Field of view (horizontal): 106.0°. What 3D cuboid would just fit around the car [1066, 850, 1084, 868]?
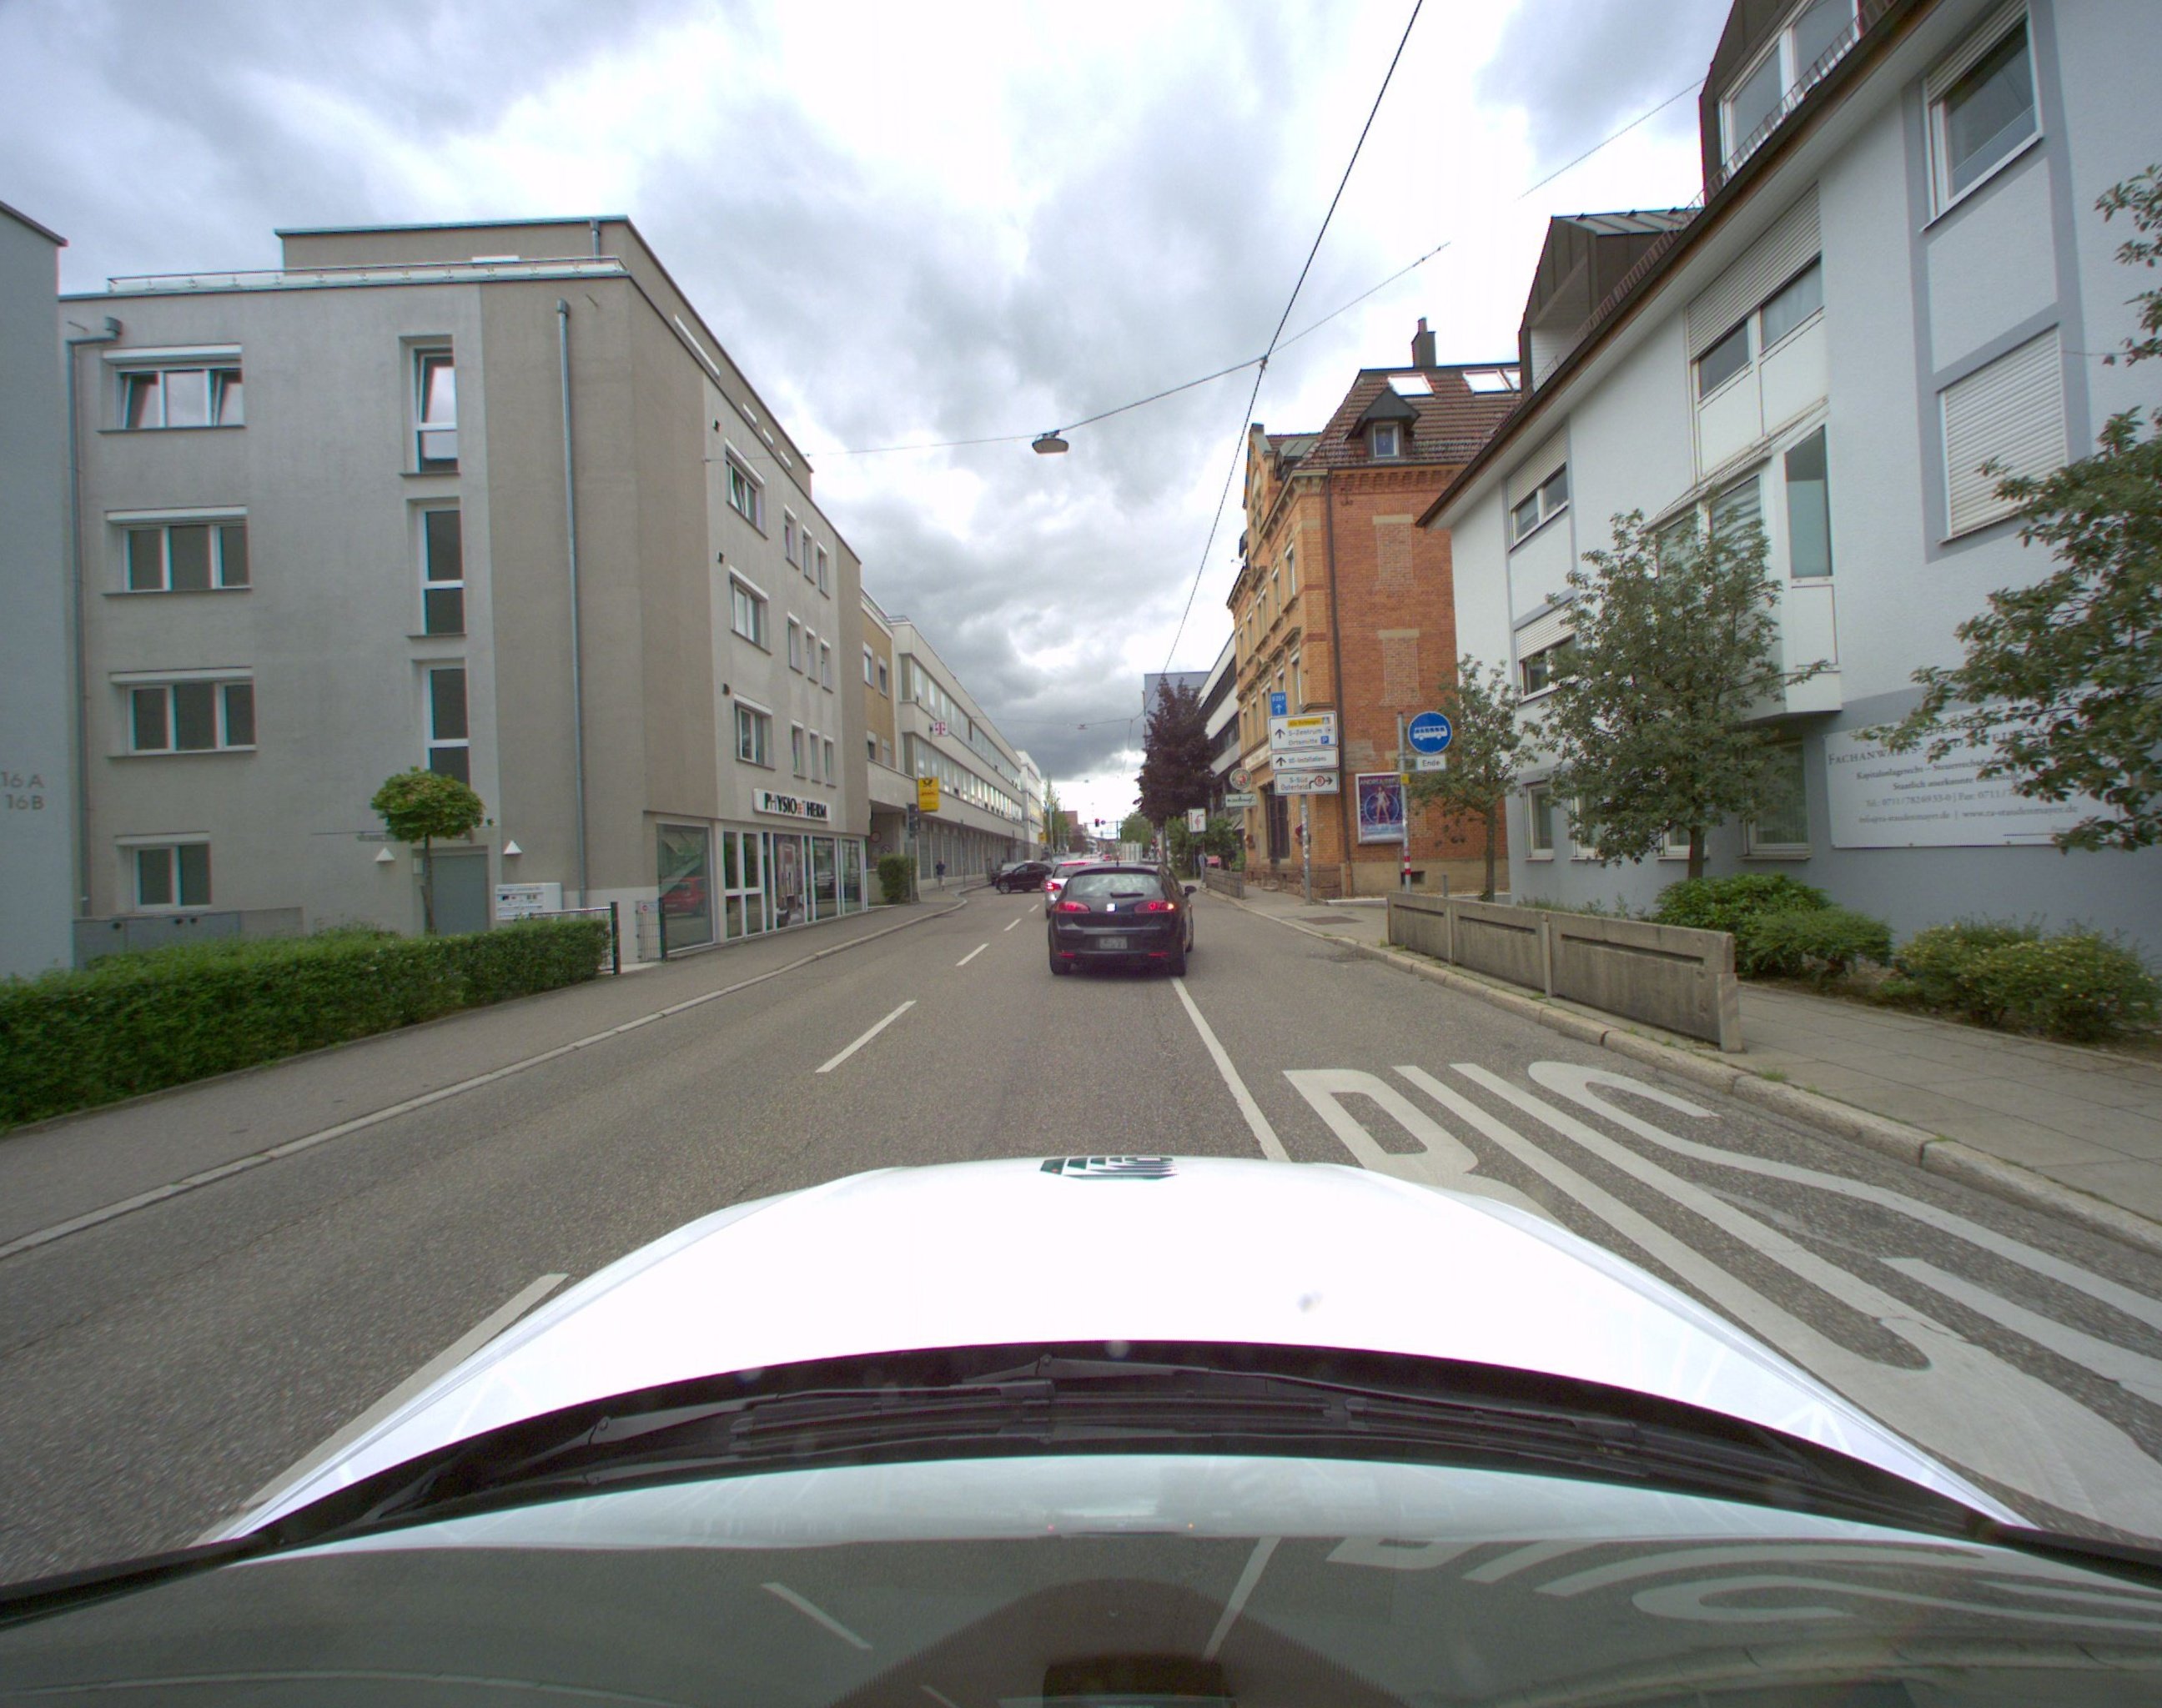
[{"bbox_3d":[-0.739,0.632,100.441,1.987,2.013,4.903,-3,0,1],"label":"car"}]

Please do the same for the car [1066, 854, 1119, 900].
[{"bbox_3d":[0.438,0.804,30.725,1.797,1.553,3.738,-2,0,1],"label":"car"}]

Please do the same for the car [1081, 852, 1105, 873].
[{"bbox_3d":[0.969,0.647,65.091,1.797,1.601,3.738,-1,0,1],"label":"car"}]

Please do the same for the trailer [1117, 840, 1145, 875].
[{"bbox_3d":[4.053,0.286,66.501,1.986,2.607,5.350,-2,0,1],"label":"trailer"}]

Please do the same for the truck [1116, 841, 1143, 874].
[{"bbox_3d":[4.104,0.283,69.273,1.987,2.607,3.260,-2,0,1],"label":"truck"}]

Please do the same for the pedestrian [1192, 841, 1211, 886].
[{"bbox_3d":[5.559,0.447,37.589,0.691,2.013,0.676,-3,0,0],"label":"pedestrian"}]

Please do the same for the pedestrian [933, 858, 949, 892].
[{"bbox_3d":[-7.561,1.140,44.044,0.640,1.769,0.810,-3,0,0],"label":"pedestrian"}]

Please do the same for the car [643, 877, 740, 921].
[{"bbox_3d":[-14.518,1.637,30.583,1.747,1.457,3.692,-1,-1,2],"label":"car"}]

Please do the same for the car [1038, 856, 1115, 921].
[{"bbox_3d":[-0.078,0.831,21.421,1.797,1.492,3.738,-2,0,1],"label":"car"}]

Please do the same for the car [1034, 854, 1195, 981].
[{"bbox_3d":[0.648,0.764,11.572,1.755,1.433,3.838,-2,0,9],"label":"car"}]

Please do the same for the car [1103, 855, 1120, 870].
[{"bbox_3d":[3.446,0.941,91.506,1.797,1.601,3.738,-1,0,1],"label":"car"}]

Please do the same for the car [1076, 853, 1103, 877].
[{"bbox_3d":[0.629,0.768,57.192,1.797,1.601,3.738,-1,0,1],"label":"car"}]

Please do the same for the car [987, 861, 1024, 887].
[{"bbox_3d":[-5.045,1.306,54.835,1.906,1.516,4.175,-4,0,1],"label":"car"}]

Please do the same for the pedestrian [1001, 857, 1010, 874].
[{"bbox_3d":[-7.248,1.096,78.350,0.653,1.623,0.681,-2,0,2],"label":"pedestrian"}]

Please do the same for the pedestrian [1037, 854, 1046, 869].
[{"bbox_3d":[-5.053,0.974,103.984,0.915,1.869,0.783,-3,0,0],"label":"pedestrian"}]

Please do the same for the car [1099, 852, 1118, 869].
[{"bbox_3d":[2.638,0.615,78.827,1.797,1.601,3.738,-1,0,1],"label":"car"}]

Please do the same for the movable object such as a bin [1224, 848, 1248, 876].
[{"bbox_3d":[8.463,0.444,44.505,0.940,1.470,1.445,-4,-1,-1],"label":"movable object such as a bin"}]

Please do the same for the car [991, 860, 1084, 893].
[{"bbox_3d":[-2.092,1.071,38.120,4.357,1.365,1.796,-2,0,44],"label":"car"}]
